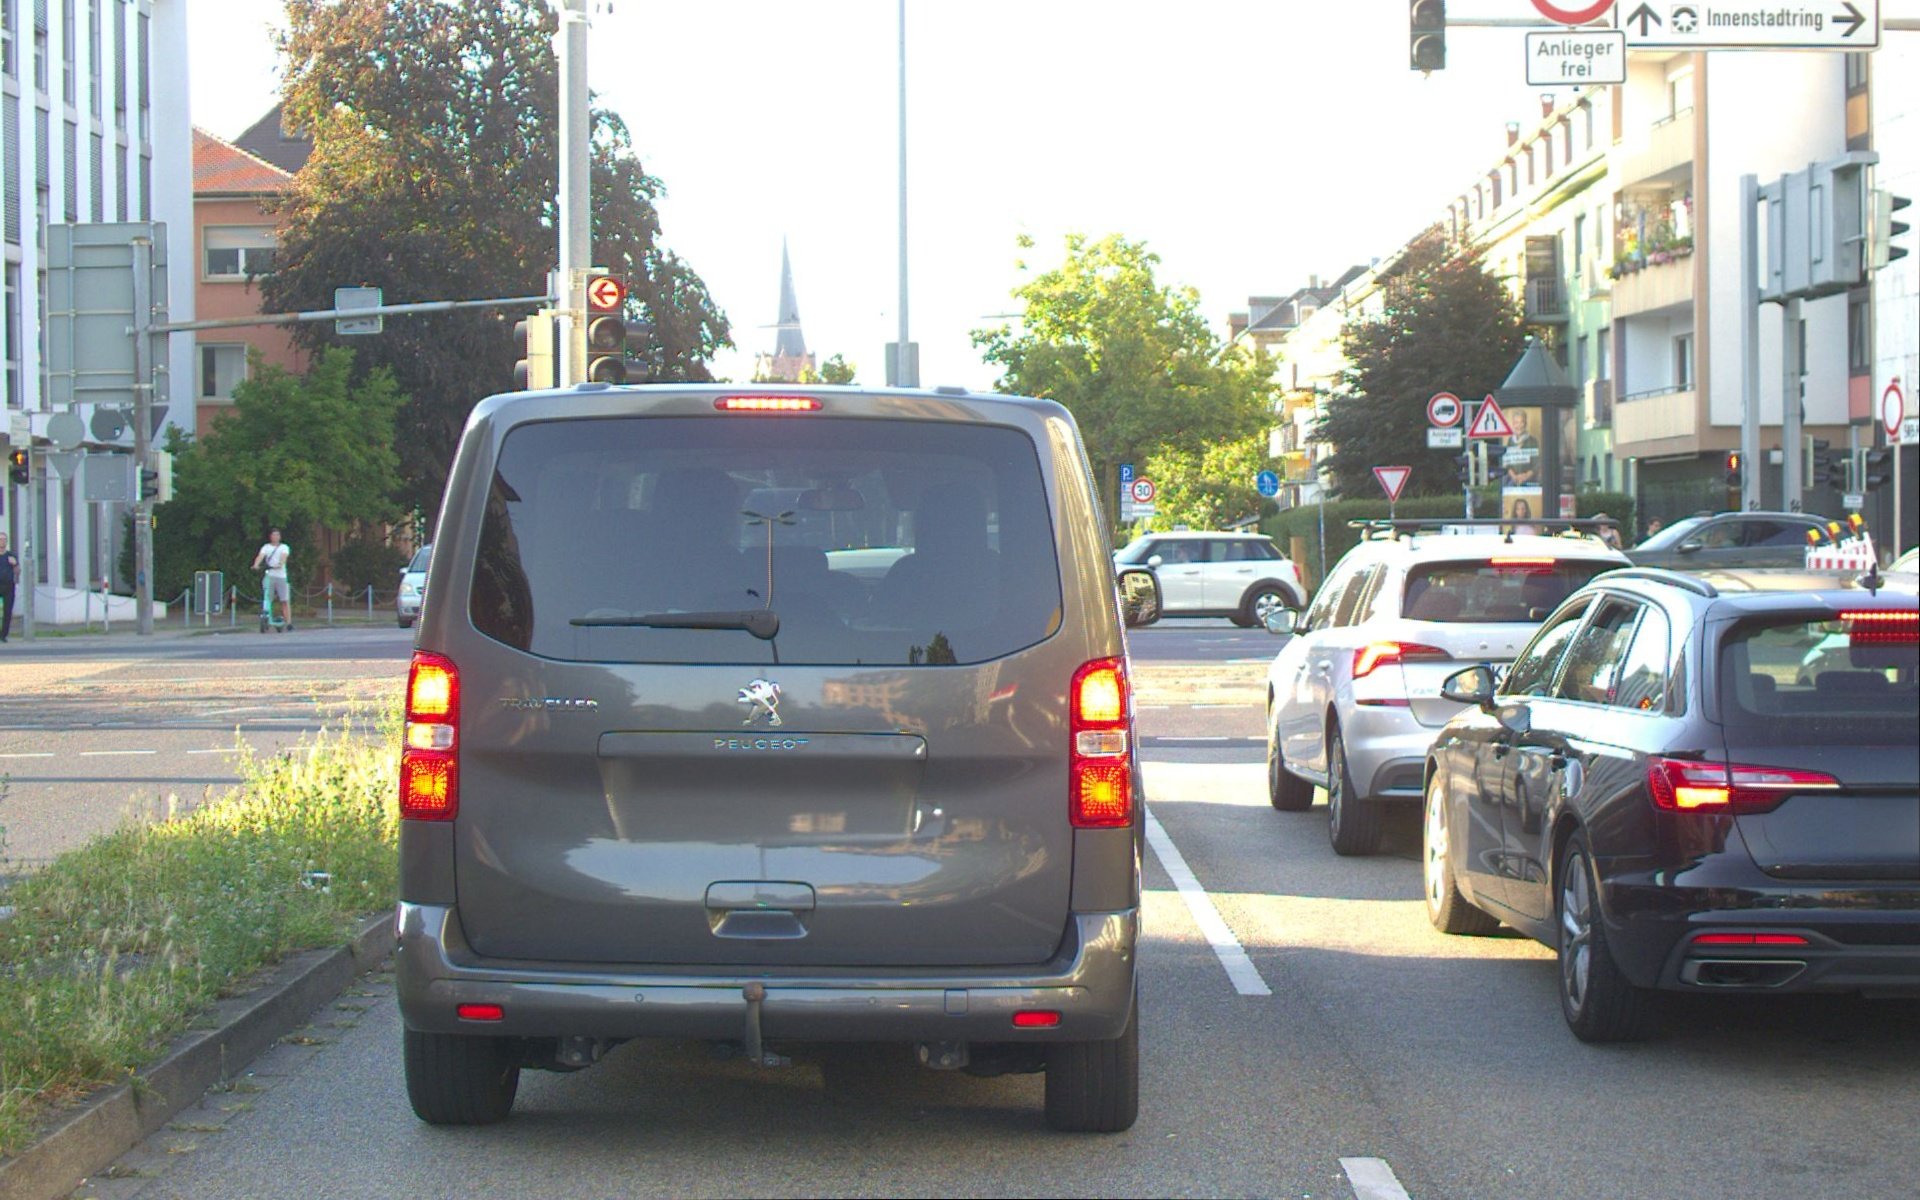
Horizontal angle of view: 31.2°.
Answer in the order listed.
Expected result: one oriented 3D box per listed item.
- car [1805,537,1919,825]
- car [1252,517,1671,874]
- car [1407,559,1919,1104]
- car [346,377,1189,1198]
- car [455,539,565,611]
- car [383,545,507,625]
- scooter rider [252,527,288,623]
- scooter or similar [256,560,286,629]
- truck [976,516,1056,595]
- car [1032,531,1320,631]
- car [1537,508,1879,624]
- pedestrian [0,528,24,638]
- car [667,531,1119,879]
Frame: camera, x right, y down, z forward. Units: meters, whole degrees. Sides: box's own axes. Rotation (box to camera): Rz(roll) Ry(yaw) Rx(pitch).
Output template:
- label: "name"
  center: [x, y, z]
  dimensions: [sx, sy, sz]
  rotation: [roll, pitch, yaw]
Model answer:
- label: "car"
  center: [5.588, 0.395, 17.955]
  dimensions: [1.504, 1.444, 3.305]
  rotation: [-1, 1, -1]
- label: "car"
  center: [2.444, 0.397, 17.555]
  dimensions: [1.528, 1.608, 3.745]
  rotation: [1, 1, -1]
- label: "car"
  center: [2.624, 0.607, 11.359]
  dimensions: [1.681, 1.416, 4.214]
  rotation: [1, 1, -1]
- label: "car"
  center: [-0.466, 0.385, 10.155]
  dimensions: [1.907, 1.857, 4.527]
  rotation: [1, 1, -1]
- label: "car"
  center: [-9.218, -0.536, 70.687]
  dimensions: [1.856, 1.415, 4.001]
  rotation: [-1, 1, -2]
- label: "car"
  center: [-9.706, -0.302, 65.000]
  dimensions: [1.856, 1.415, 4.001]
  rotation: [-1, 1, -2]
- label: "scooter rider"
  center: [-12.228, -0.440, 60.936]
  dimensions: [0.481, 1.691, 0.636]
  rotation: [-1, 1, -1]
- label: "scooter or similar"
  center: [-12.203, -0.104, 60.883]
  dimensions: [0.285, 1.184, 1.169]
  rotation: [-1, 1, -1]
- label: "truck"
  center: [1.532, -1.238, 94.024]
  dimensions: [2.128, 2.079, 4.631]
  rotation: [-1, 1, 1]
- label: "car"
  center: [3.187, -0.304, 51.179]
  dimensions: [3.986, 1.415, 1.788]
  rotation: [-1, 1, -9]
- label: "car"
  center: [10.456, -0.489, 48.234]
  dimensions: [4.338, 1.544, 1.788]
  rotation: [-1, 1, -6]
- label: "pedestrian"
  center: [-14.997, -0.268, 53.823]
  dimensions: [0.625, 1.716, 0.671]
  rotation: [-1, 1, -14]
- label: "car"
  center: [-0.317, 0.426, 17.281]
  dimensions: [1.993, 1.525, 4.000]
  rotation: [-1, 1, -1]
